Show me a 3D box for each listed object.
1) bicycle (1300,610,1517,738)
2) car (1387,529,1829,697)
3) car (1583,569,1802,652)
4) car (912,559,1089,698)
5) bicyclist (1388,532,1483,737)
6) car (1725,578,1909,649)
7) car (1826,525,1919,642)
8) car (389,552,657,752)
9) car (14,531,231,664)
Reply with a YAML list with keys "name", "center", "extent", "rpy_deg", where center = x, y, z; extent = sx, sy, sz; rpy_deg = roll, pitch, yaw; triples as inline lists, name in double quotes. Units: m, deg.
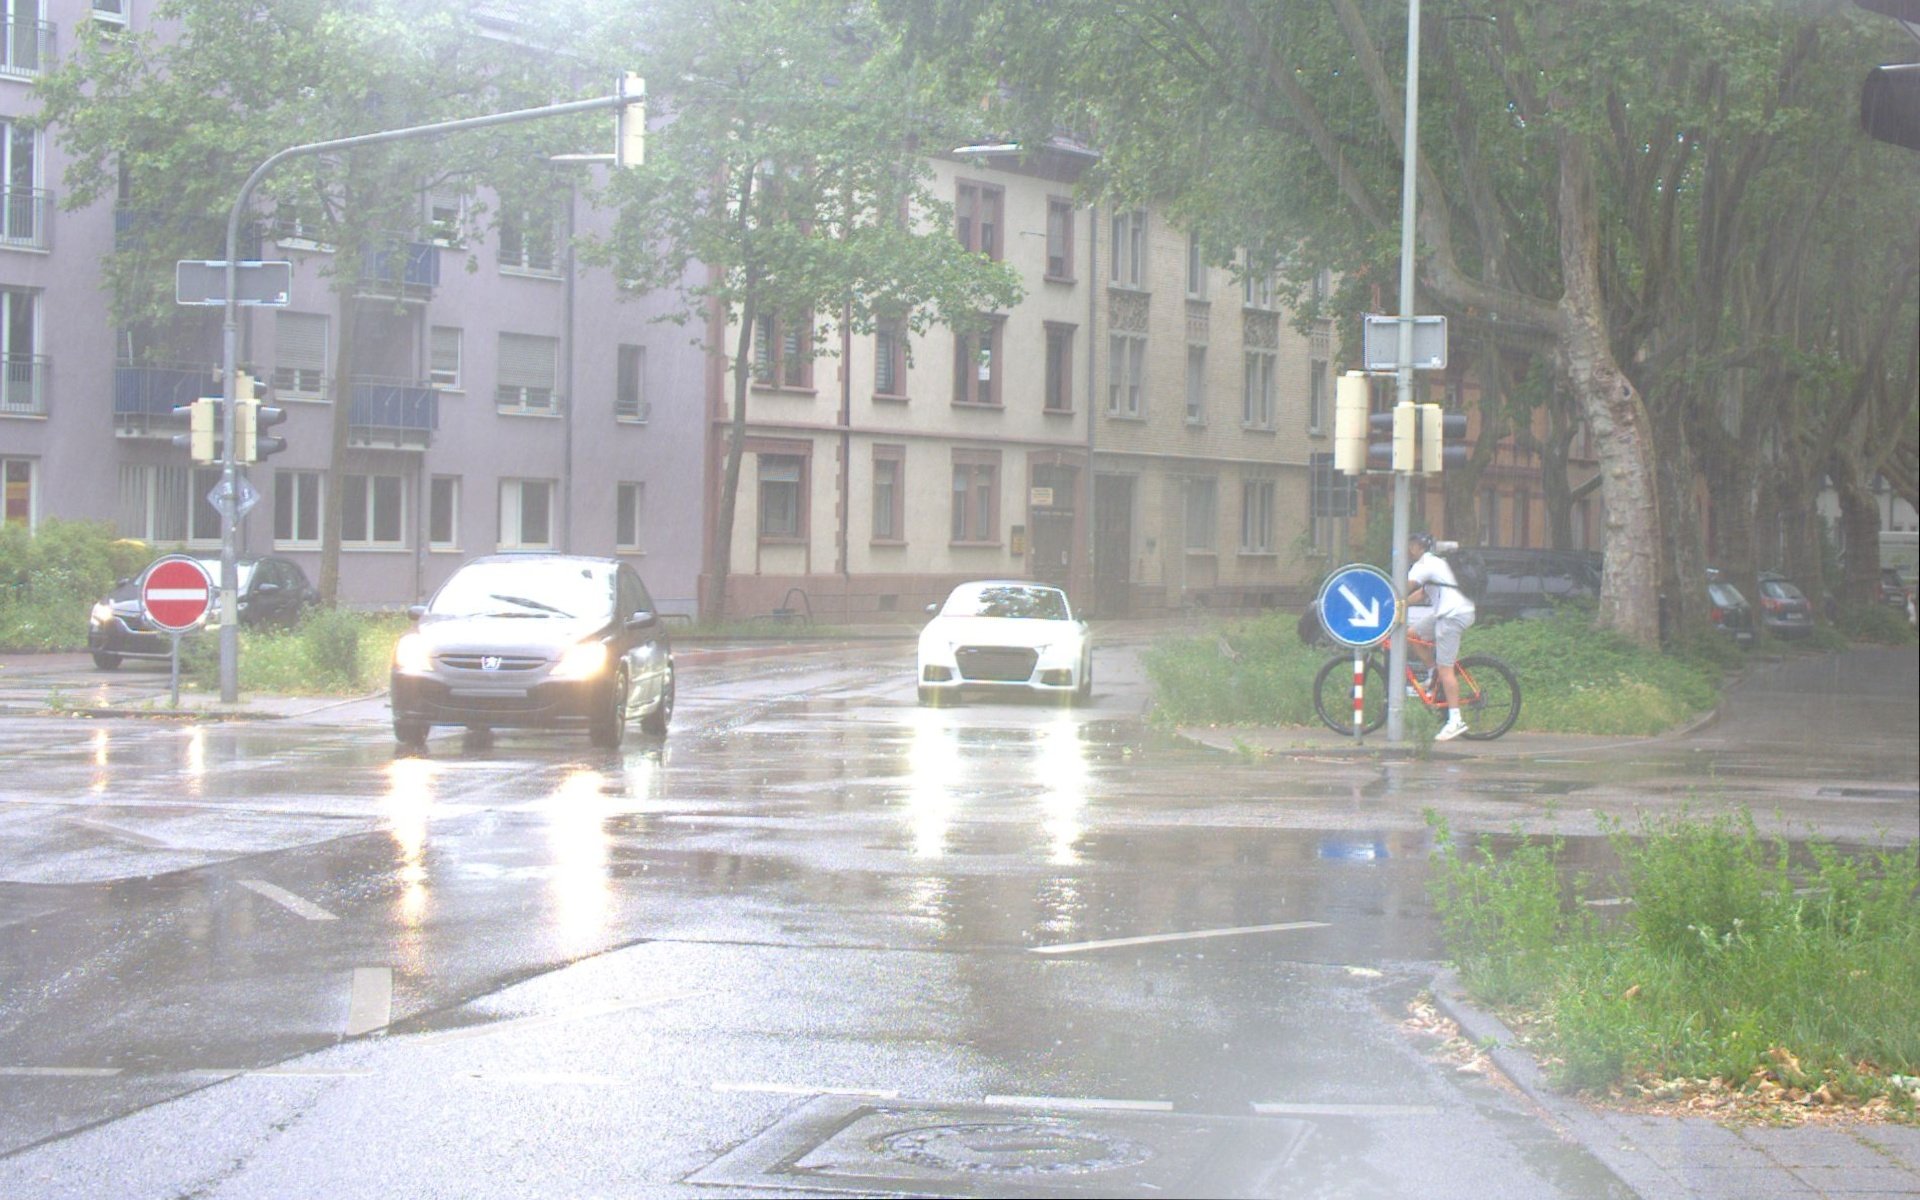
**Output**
- name: "bicycle"
  center: [3.962, 0.645, 30.405]
  extent: [1.873, 1.077, 0.657]
  rpy_deg: [1, 0, 8]
- name: "car"
  center: [6.168, 0.102, 32.714]
  extent: [3.989, 1.481, 1.999]
  rpy_deg: [1, 1, 12]
- name: "car"
  center: [13.943, 0.187, 65.484]
  extent: [3.989, 1.481, 1.999]
  rpy_deg: [1, 1, 12]
- name: "car"
  center: [0.486, 0.284, 39.096]
  extent: [1.884, 1.431, 4.000]
  rpy_deg: [1, 1, 1]
- name: "bicyclist"
  center: [4.197, 0.297, 30.373]
  extent: [0.795, 1.780, 0.697]
  rpy_deg: [1, 0, 8]
- name: "car"
  center: [19.574, 0.300, 78.664]
  extent: [3.989, 1.542, 1.999]
  rpy_deg: [1, 1, 12]
- name: "car"
  center: [24.394, -0.424, 87.726]
  extent: [2.033, 2.938, 4.773]
  rpy_deg: [1, 1, -21]
- name: "car"
  center: [-3.400, 0.368, 27.315]
  extent: [1.714, 1.454, 3.748]
  rpy_deg: [1, 1, -1]
- name: "car"
  center: [-10.046, -0.065, 41.507]
  extent: [1.751, 1.506, 3.839]
  rpy_deg: [1, 1, -2]
